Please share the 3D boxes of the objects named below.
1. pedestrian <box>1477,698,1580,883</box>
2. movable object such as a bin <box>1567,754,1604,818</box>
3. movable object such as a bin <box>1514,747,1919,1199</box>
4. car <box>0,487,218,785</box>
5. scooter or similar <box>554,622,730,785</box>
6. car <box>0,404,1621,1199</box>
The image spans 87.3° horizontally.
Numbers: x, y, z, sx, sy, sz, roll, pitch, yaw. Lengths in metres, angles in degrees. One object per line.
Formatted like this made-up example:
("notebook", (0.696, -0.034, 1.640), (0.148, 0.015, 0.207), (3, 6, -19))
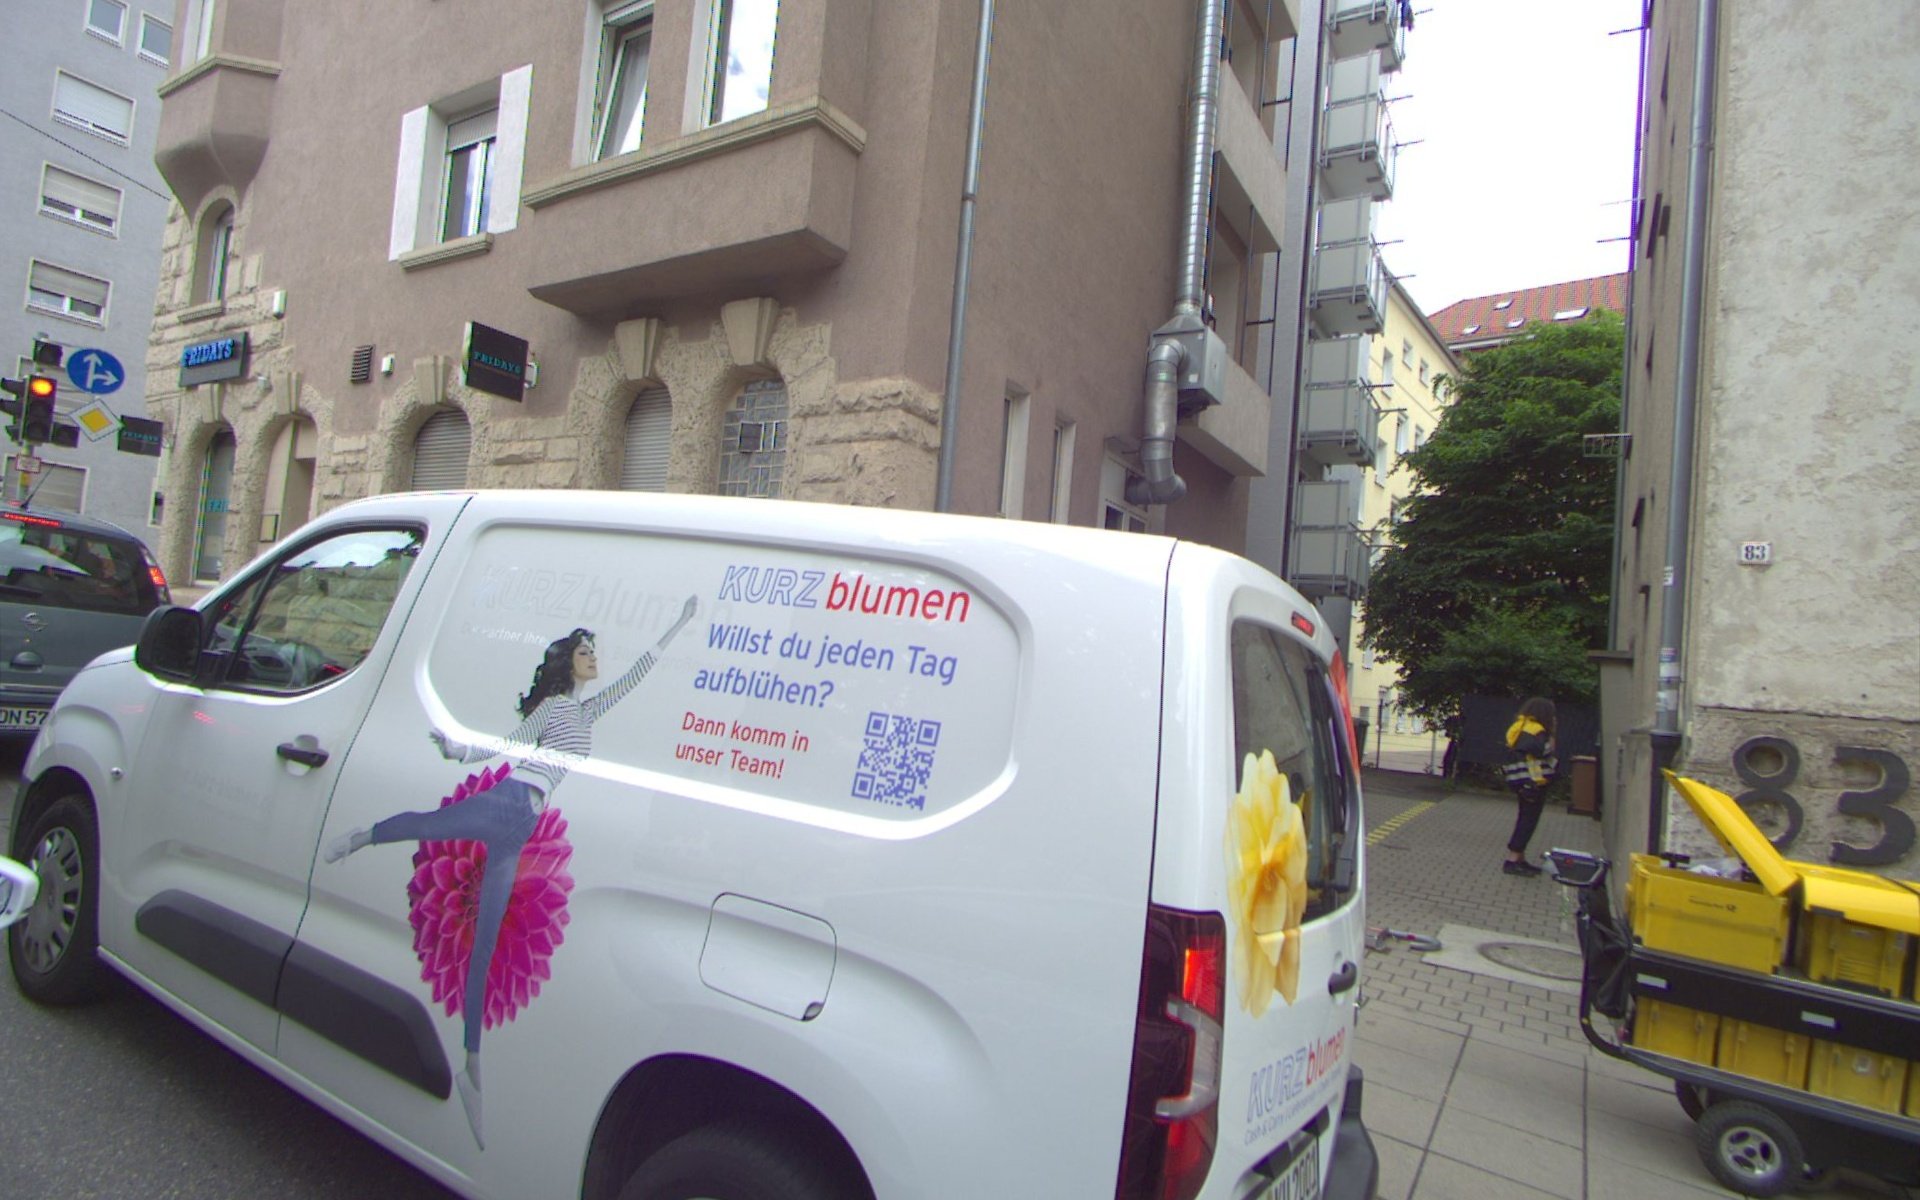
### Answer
("pedestrian", (5.556, 1.820, 9.870), (0.770, 1.665, 0.811), (1, -3, 23))
("movable object such as a bin", (9.929, 2.953, 15.982), (0.405, 0.922, 0.340), (6, -1, 32))
("movable object such as a bin", (3.380, 1.464, 3.954), (1.979, 1.391, 1.223), (6, -1, 30))
("car", (-6.712, 0.054, 6.530), (3.608, 1.614, 1.634), (6, -5, 32))
("scooter or similar", (-2.646, 0.825, 8.314), (1.400, 1.117, 0.527), (6, -1, 34))
("car", (-0.903, 0.608, 3.075), (4.597, 1.793, 1.983), (6, -5, 30))
